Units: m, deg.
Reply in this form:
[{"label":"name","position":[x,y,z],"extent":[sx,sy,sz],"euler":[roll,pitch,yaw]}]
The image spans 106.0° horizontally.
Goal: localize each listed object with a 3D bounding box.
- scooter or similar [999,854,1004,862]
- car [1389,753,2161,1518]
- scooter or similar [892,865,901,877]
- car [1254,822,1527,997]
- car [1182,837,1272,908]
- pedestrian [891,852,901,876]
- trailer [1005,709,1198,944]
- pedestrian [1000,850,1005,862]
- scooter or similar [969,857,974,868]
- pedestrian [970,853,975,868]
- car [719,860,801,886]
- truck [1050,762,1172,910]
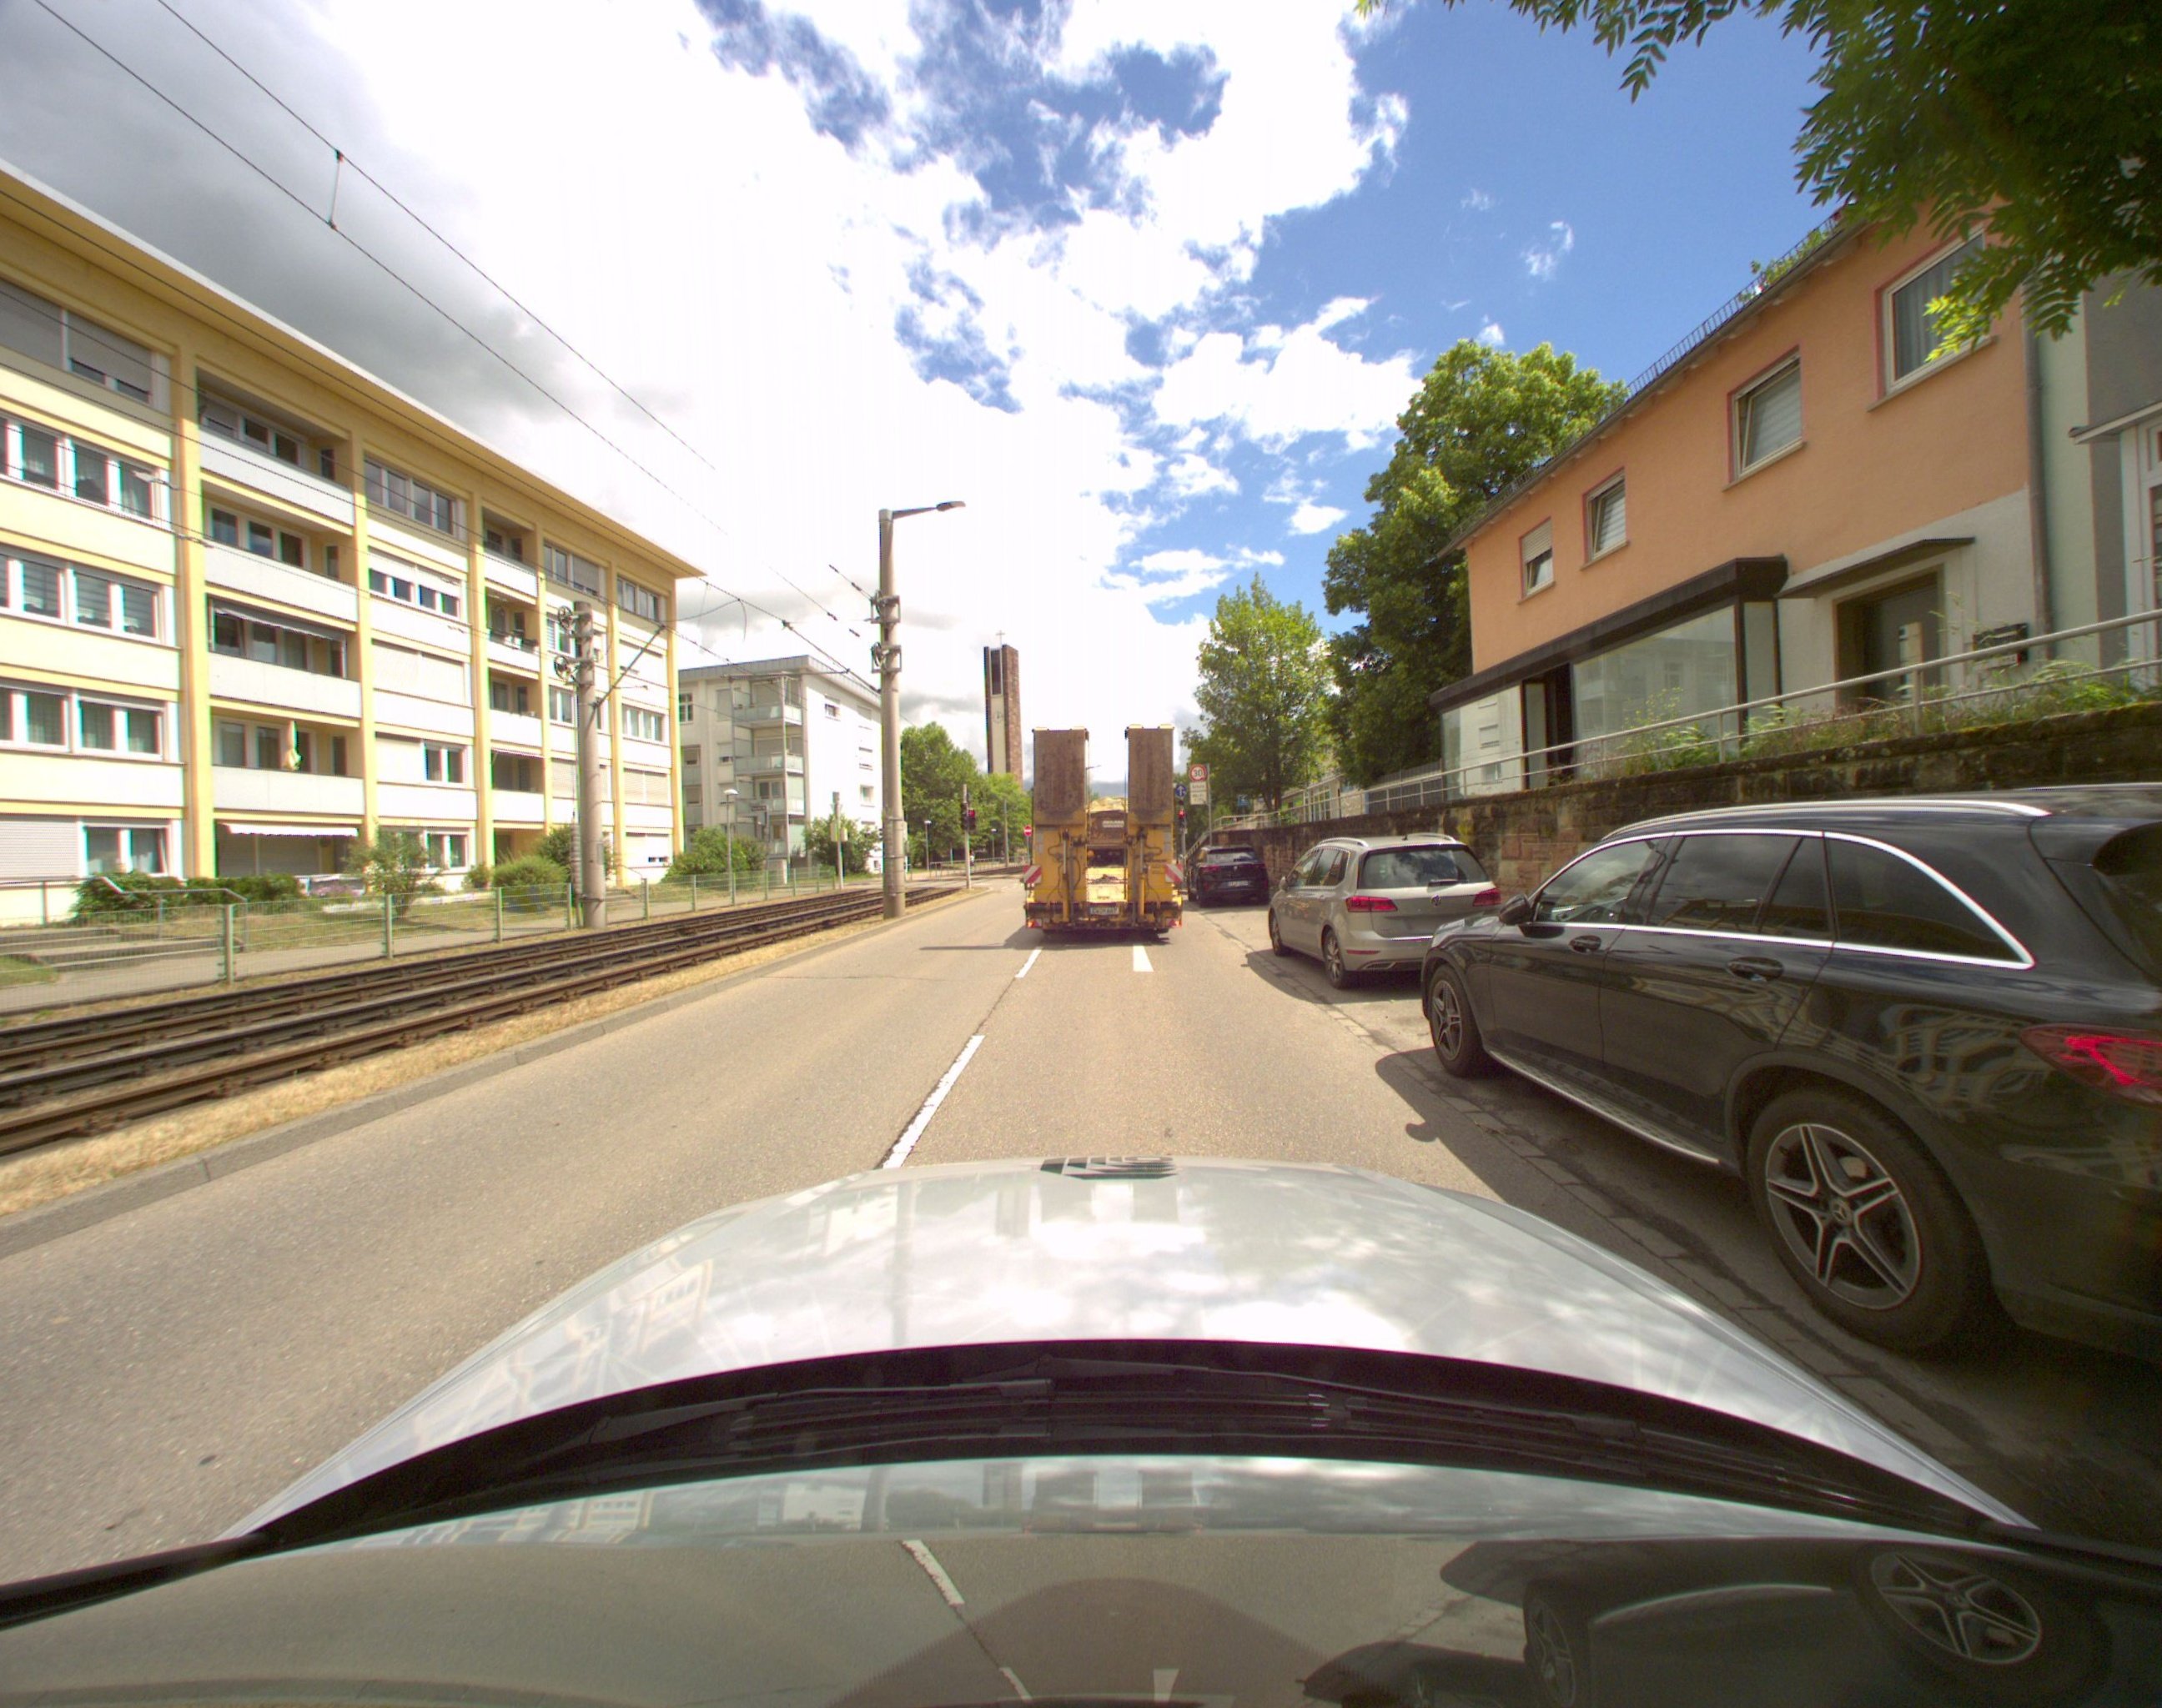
[{"label":"scooter or similar","position":[-9.443,0.519,96.883],"extent":[0.504,0.971,0.646],"euler":[0,0,1]},{"label":"car","position":[3.184,0.531,3.838],"extent":[1.783,1.617,4.449],"euler":[-4,0,1]},{"label":"scooter or similar","position":[-12.046,1.096,53.141],"extent":[0.435,0.747,0.475],"euler":[-2,0,7]},{"label":"car","position":[3.467,0.530,10.066],"extent":[1.783,1.617,4.250],"euler":[-3,0,1]},{"label":"car","position":[3.834,0.451,22.009],"extent":[1.843,1.639,4.003],"euler":[-3,0,3]},{"label":"pedestrian","position":[-12.159,0.660,53.623],"extent":[0.435,1.580,0.475],"euler":[-2,0,6]},{"label":"trailer","position":[0.561,-0.455,17.198],"extent":[2.933,3.601,8.691],"euler":[-2,0,3]},{"label":"pedestrian","position":[-9.401,0.249,97.530],"extent":[0.562,1.513,0.646],"euler":[0,0,1]},{"label":"scooter or similar","position":[-10.822,0.855,80.502],"extent":[0.336,1.057,0.688],"euler":[-2,0,5]},{"label":"pedestrian","position":[-10.774,0.643,81.140],"extent":[0.346,1.537,0.558],"euler":[-2,0,6]},{"label":"car","position":[-18.711,1.100,47.528],"extent":[3.962,1.345,1.907],"euler":[-2,0,10]},{"label":"truck","position":[0.852,-0.468,22.691],"extent":[2.931,3.572,4.880],"euler":[-2,0,2]}]
